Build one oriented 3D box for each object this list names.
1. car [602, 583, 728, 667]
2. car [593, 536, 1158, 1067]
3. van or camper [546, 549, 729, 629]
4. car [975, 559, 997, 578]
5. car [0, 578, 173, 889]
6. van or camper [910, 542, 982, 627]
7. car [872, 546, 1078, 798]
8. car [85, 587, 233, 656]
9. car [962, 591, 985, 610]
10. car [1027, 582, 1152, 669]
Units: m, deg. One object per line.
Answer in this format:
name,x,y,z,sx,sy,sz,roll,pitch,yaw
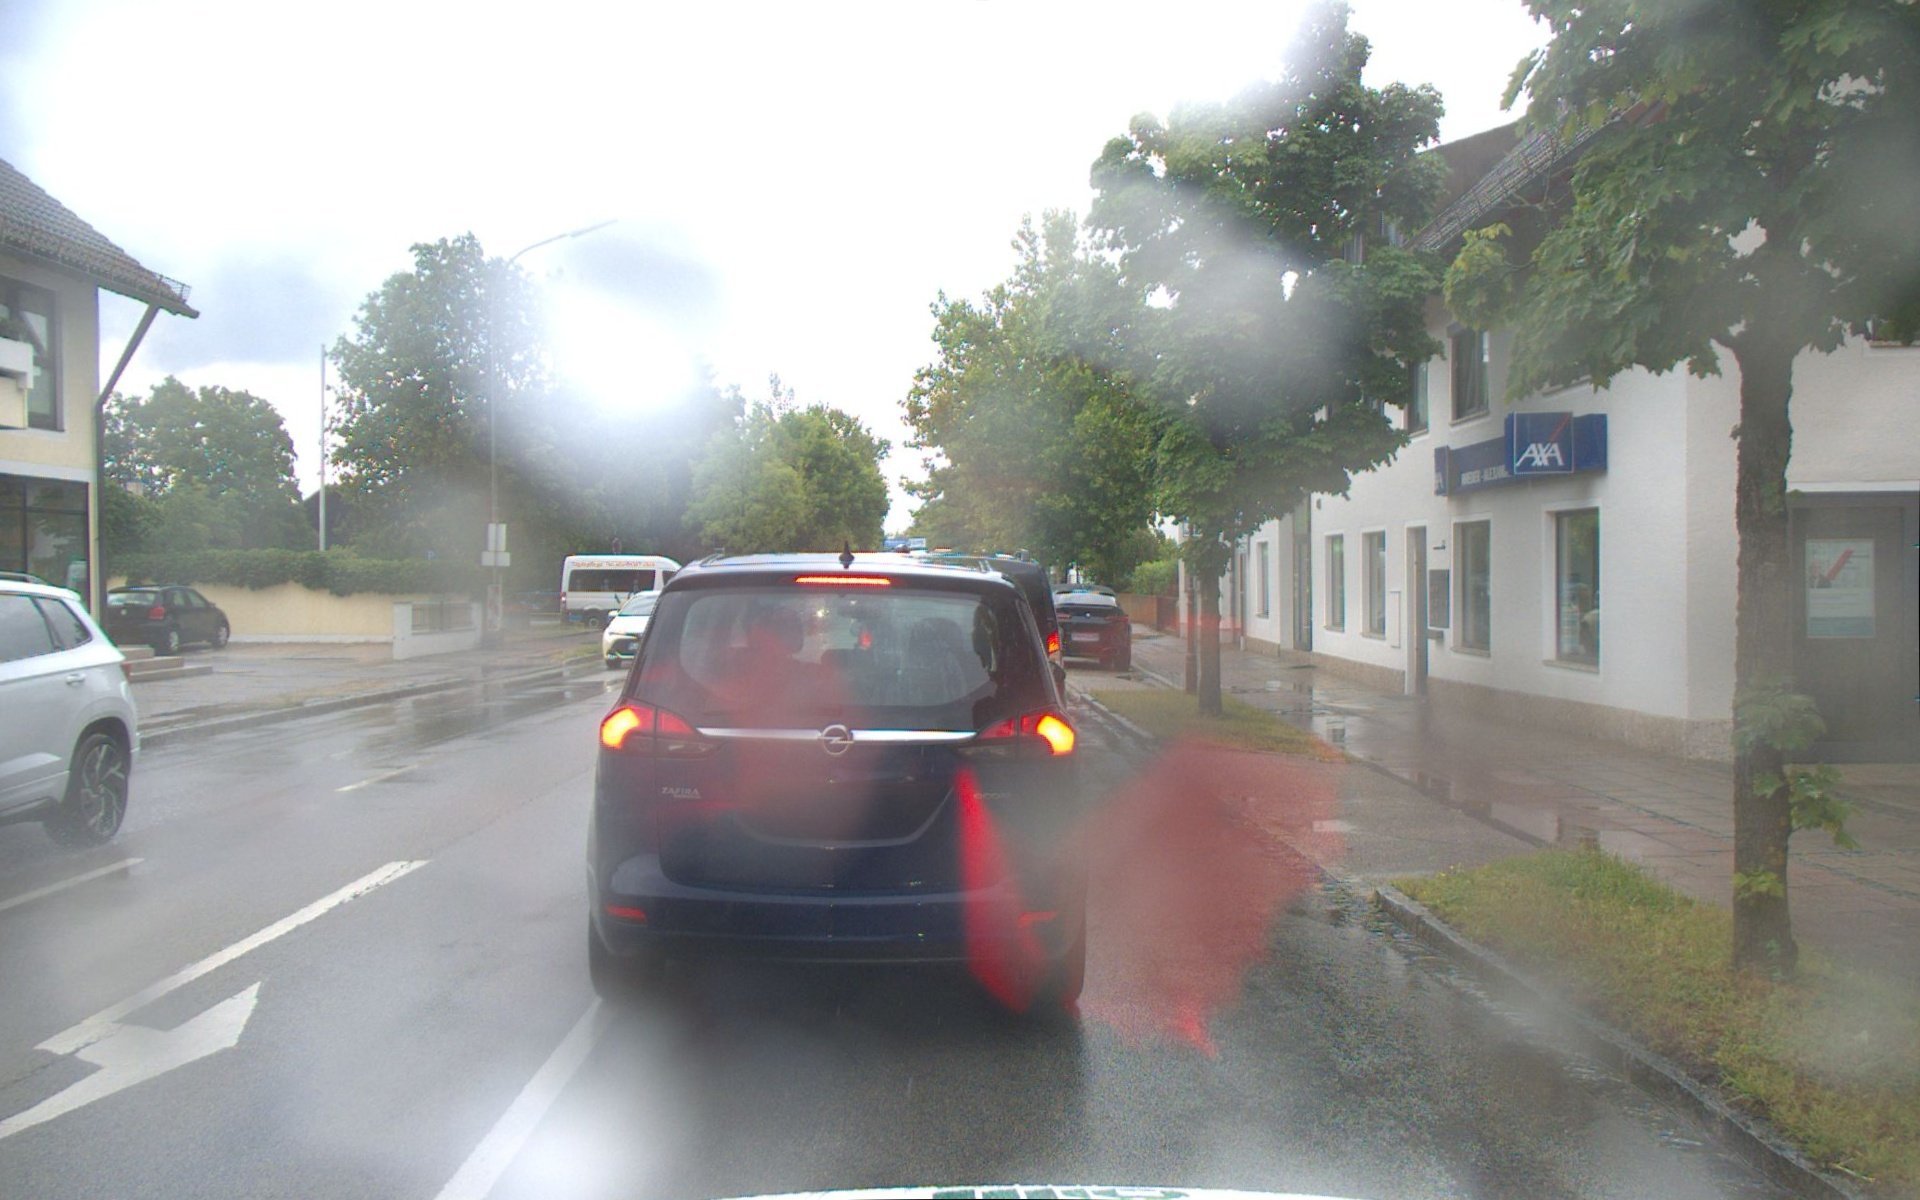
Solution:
car,-5.840,0.453,33.178,1.716,1.537,4.230,-2,0,0
car,-0.288,0.616,6.959,1.733,1.632,3.662,1,0,-1
van or camper,-11.304,-0.394,58.380,6.128,2.754,2.098,0,0,-6
car,2.083,-2.516,131.629,1.597,1.402,3.622,-1,0,-1
car,-5.876,0.700,8.356,1.888,1.594,4.125,-1,0,-2
van or camper,-0.503,-0.516,56.143,2.312,2.712,5.370,-1,0,-1
car,0.084,0.513,13.596,1.470,1.807,3.111,1,0,-1
car,-17.591,0.441,36.476,1.574,1.404,3.508,-1,0,-1
car,0.967,0.050,122.021,1.597,1.402,3.622,1,0,-1
car,2.540,0.485,33.394,2.075,1.609,3.934,1,0,-2
